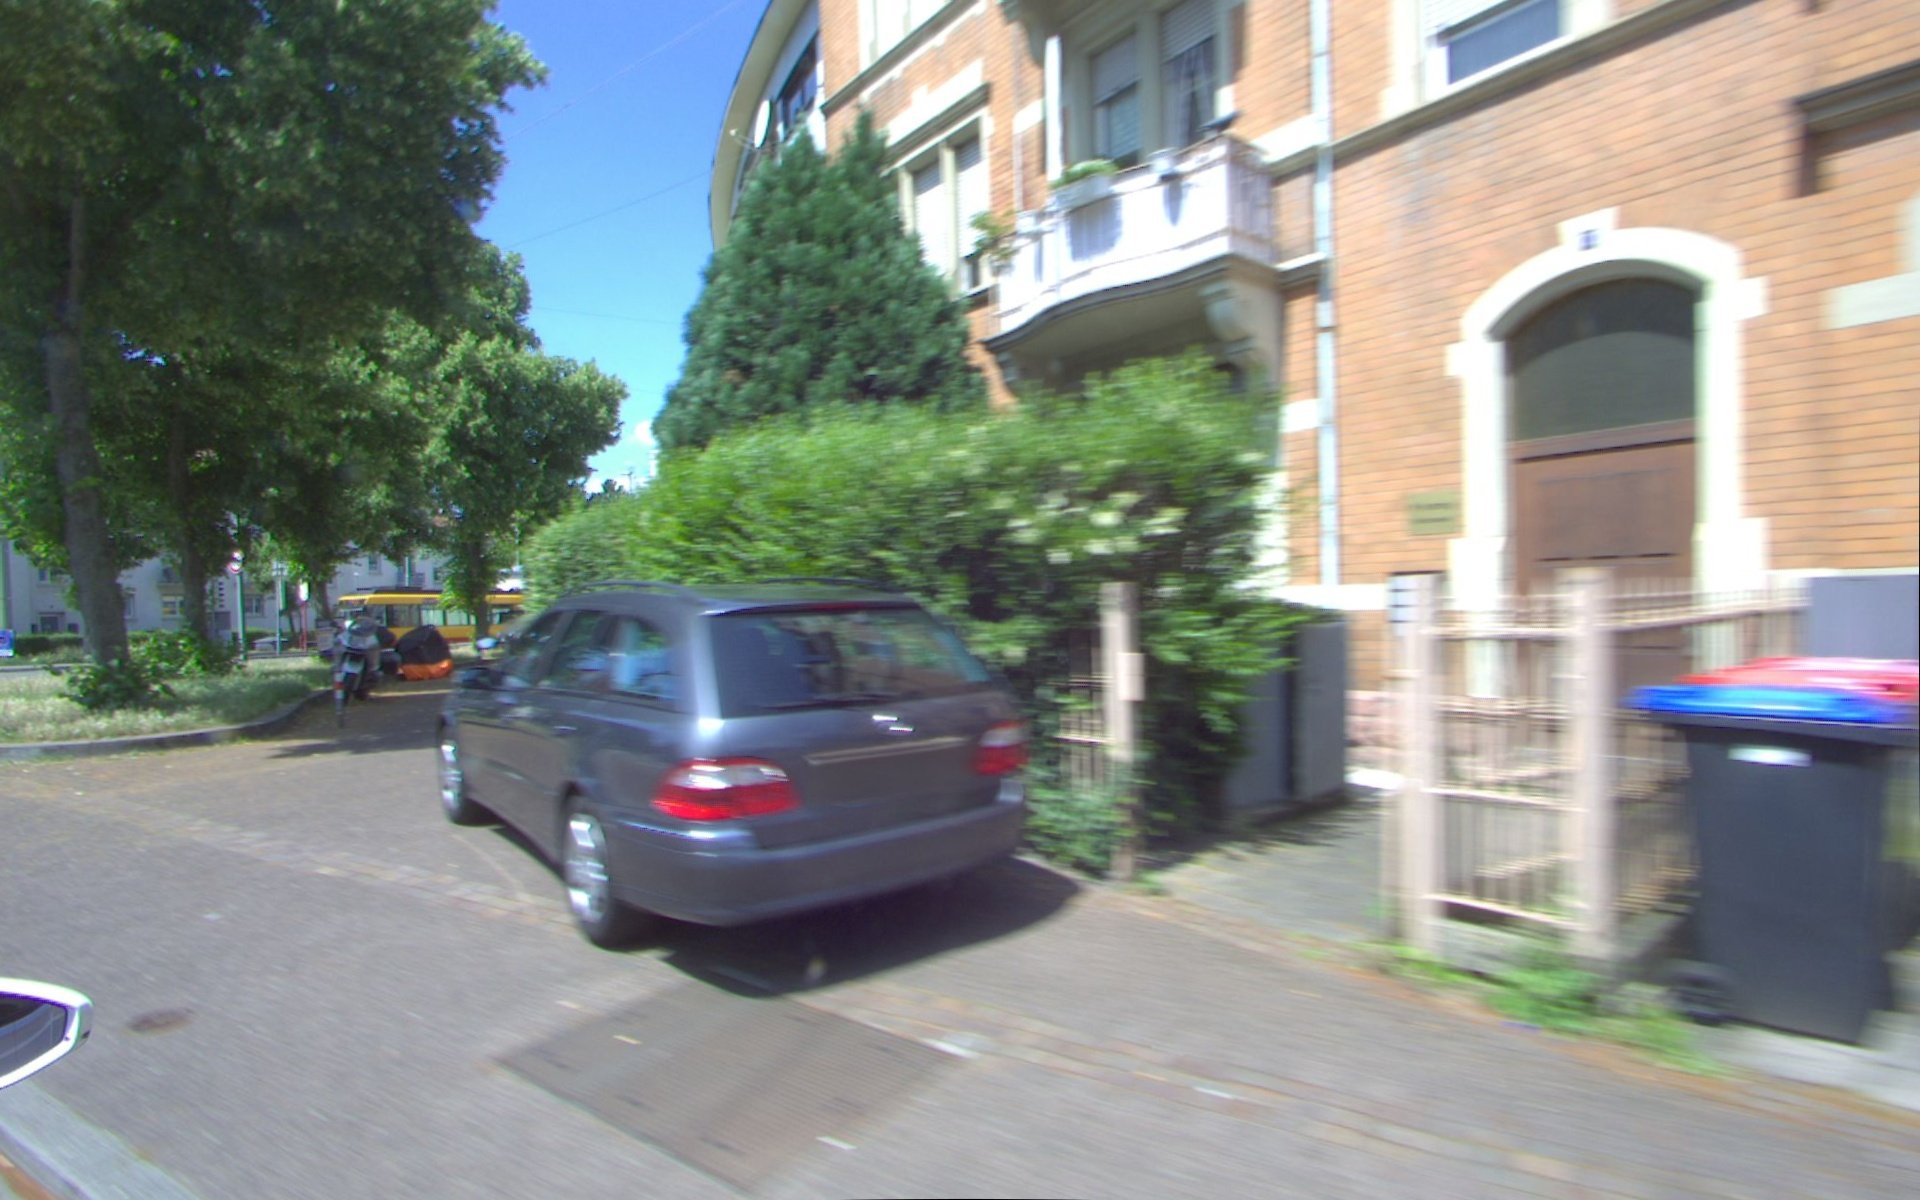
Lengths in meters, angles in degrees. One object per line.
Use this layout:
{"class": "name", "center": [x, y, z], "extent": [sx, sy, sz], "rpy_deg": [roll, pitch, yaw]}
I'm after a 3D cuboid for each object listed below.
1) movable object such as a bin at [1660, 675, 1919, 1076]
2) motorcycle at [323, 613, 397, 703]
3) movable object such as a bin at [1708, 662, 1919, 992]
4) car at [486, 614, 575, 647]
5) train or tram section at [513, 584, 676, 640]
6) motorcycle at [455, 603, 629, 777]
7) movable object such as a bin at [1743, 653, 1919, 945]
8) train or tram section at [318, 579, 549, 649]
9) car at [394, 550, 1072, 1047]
{"class": "movable object such as a bin", "center": [2.734, 0.821, 3.296], "extent": [0.630, 1.085, 0.645], "rpy_deg": [0, 0, 42]}
{"class": "motorcycle", "center": [-9.537, 0.880, 15.986], "extent": [0.905, 1.330, 2.215], "rpy_deg": [0, -1, -28]}
{"class": "movable object such as a bin", "center": [3.286, 0.799, 3.779], "extent": [0.697, 1.085, 0.549], "rpy_deg": [0, 0, 42]}
{"class": "car", "center": [-21.306, 1.474, 49.857], "extent": [1.962, 1.519, 4.423], "rpy_deg": [-1, -1, 10]}
{"class": "train or tram section", "center": [-26.003, 0.834, 72.635], "extent": [2.744, 3.615, 14.682], "rpy_deg": [-1, -1, 17]}
{"class": "motorcycle", "center": [-3.809, 0.707, 8.998], "extent": [0.921, 1.320, 2.264], "rpy_deg": [-2, 2, -36]}
{"class": "movable object such as a bin", "center": [3.736, 0.786, 4.186], "extent": [0.697, 1.085, 0.572], "rpy_deg": [0, 0, 42]}
{"class": "train or tram section", "center": [-30.232, 0.781, 58.869], "extent": [2.768, 3.615, 14.158], "rpy_deg": [-1, -1, 17]}
{"class": "car", "center": [-1.790, 0.592, 5.741], "extent": [1.818, 1.569, 5.116], "rpy_deg": [-2, 2, -37]}
